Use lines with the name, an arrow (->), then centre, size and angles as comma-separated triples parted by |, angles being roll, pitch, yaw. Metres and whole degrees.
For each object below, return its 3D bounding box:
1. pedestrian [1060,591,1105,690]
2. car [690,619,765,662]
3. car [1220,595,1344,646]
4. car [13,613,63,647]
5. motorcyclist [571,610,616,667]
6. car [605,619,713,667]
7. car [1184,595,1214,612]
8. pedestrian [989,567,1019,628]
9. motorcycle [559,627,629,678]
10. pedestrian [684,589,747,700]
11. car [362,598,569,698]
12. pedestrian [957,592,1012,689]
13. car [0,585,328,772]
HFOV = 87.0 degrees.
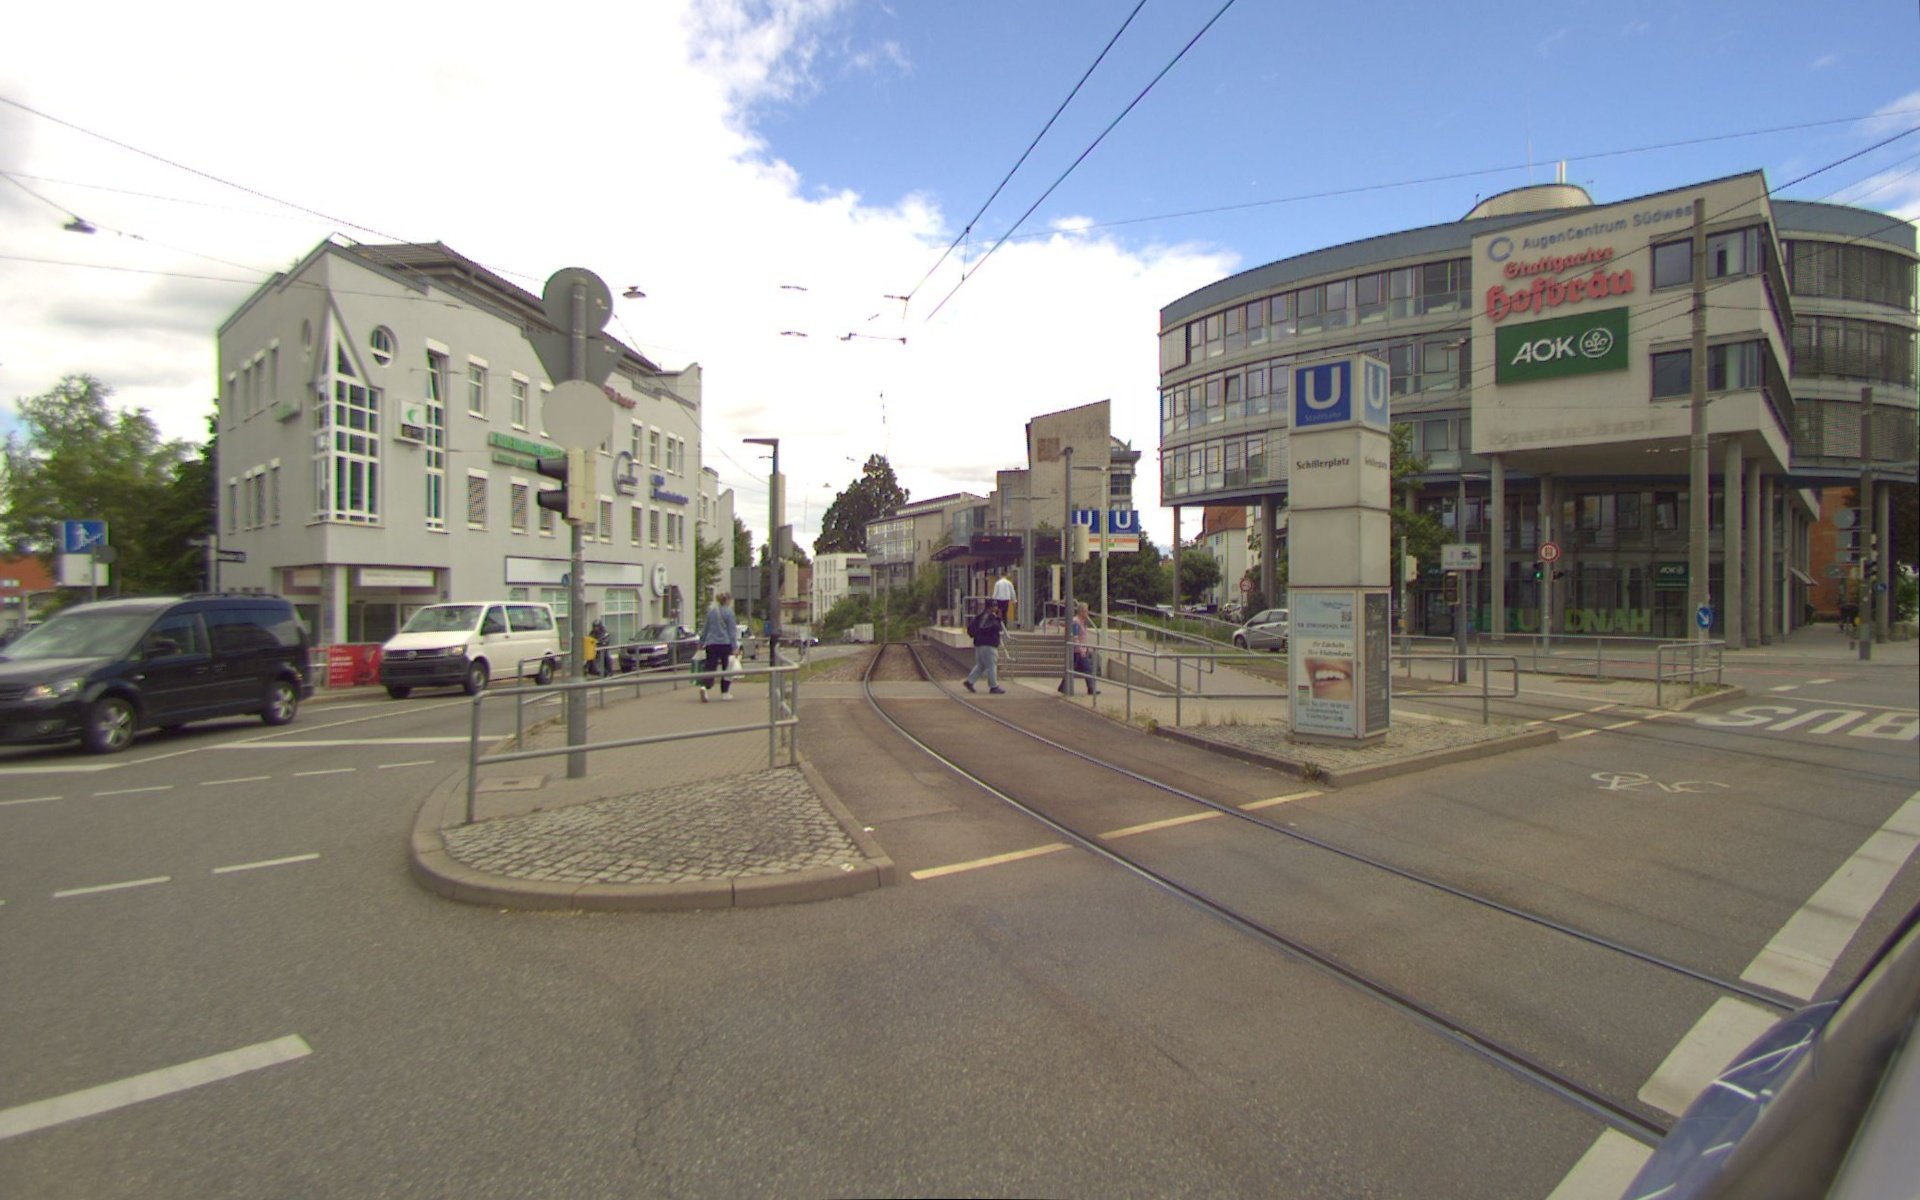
pedestrian -> 2.094, 0.697, 17.323 | 0.522, 1.656, 0.581 | -3, -3, 31
car -> -9.168, 1.562, 40.268 | 1.845, 1.457, 4.749 | -1, 0, 1
car -> 11.647, 0.703, 36.908 | 1.958, 1.732, 4.326 | 0, 0, -23
car -> -53.701, 1.705, 58.931 | 4.215, 1.826, 1.851 | -1, 0, 44
motorcyclist -> -9.935, 1.033, 27.480 | 0.873, 1.494, 0.804 | 0, 0, 10
car -> -9.853, 1.400, 33.574 | 1.847, 1.465, 4.777 | -1, -2, 5
car -> 24.475, 0.376, 103.688 | 1.961, 1.732, 4.319 | 0, 0, -1
pedestrian -> 1.298, -0.066, 29.902 | 0.681, 1.766, 0.616 | -1, -2, -11
motorcycle -> -9.925, 1.397, 27.527 | 0.872, 1.244, 2.149 | 0, 0, 9
pedestrian -> -3.790, 0.669, 15.755 | 0.870, 1.668, 0.808 | 0, 0, -8
car -> -10.515, 0.924, 22.008 | 1.846, 1.919, 4.922 | -1, 0, 4
pedestrian -> 0.438, 0.715, 17.812 | 0.832, 1.656, 0.643 | -2, -2, 10
car -> -10.403, 0.813, 12.892 | 1.843, 1.919, 4.930 | -1, 0, -3
